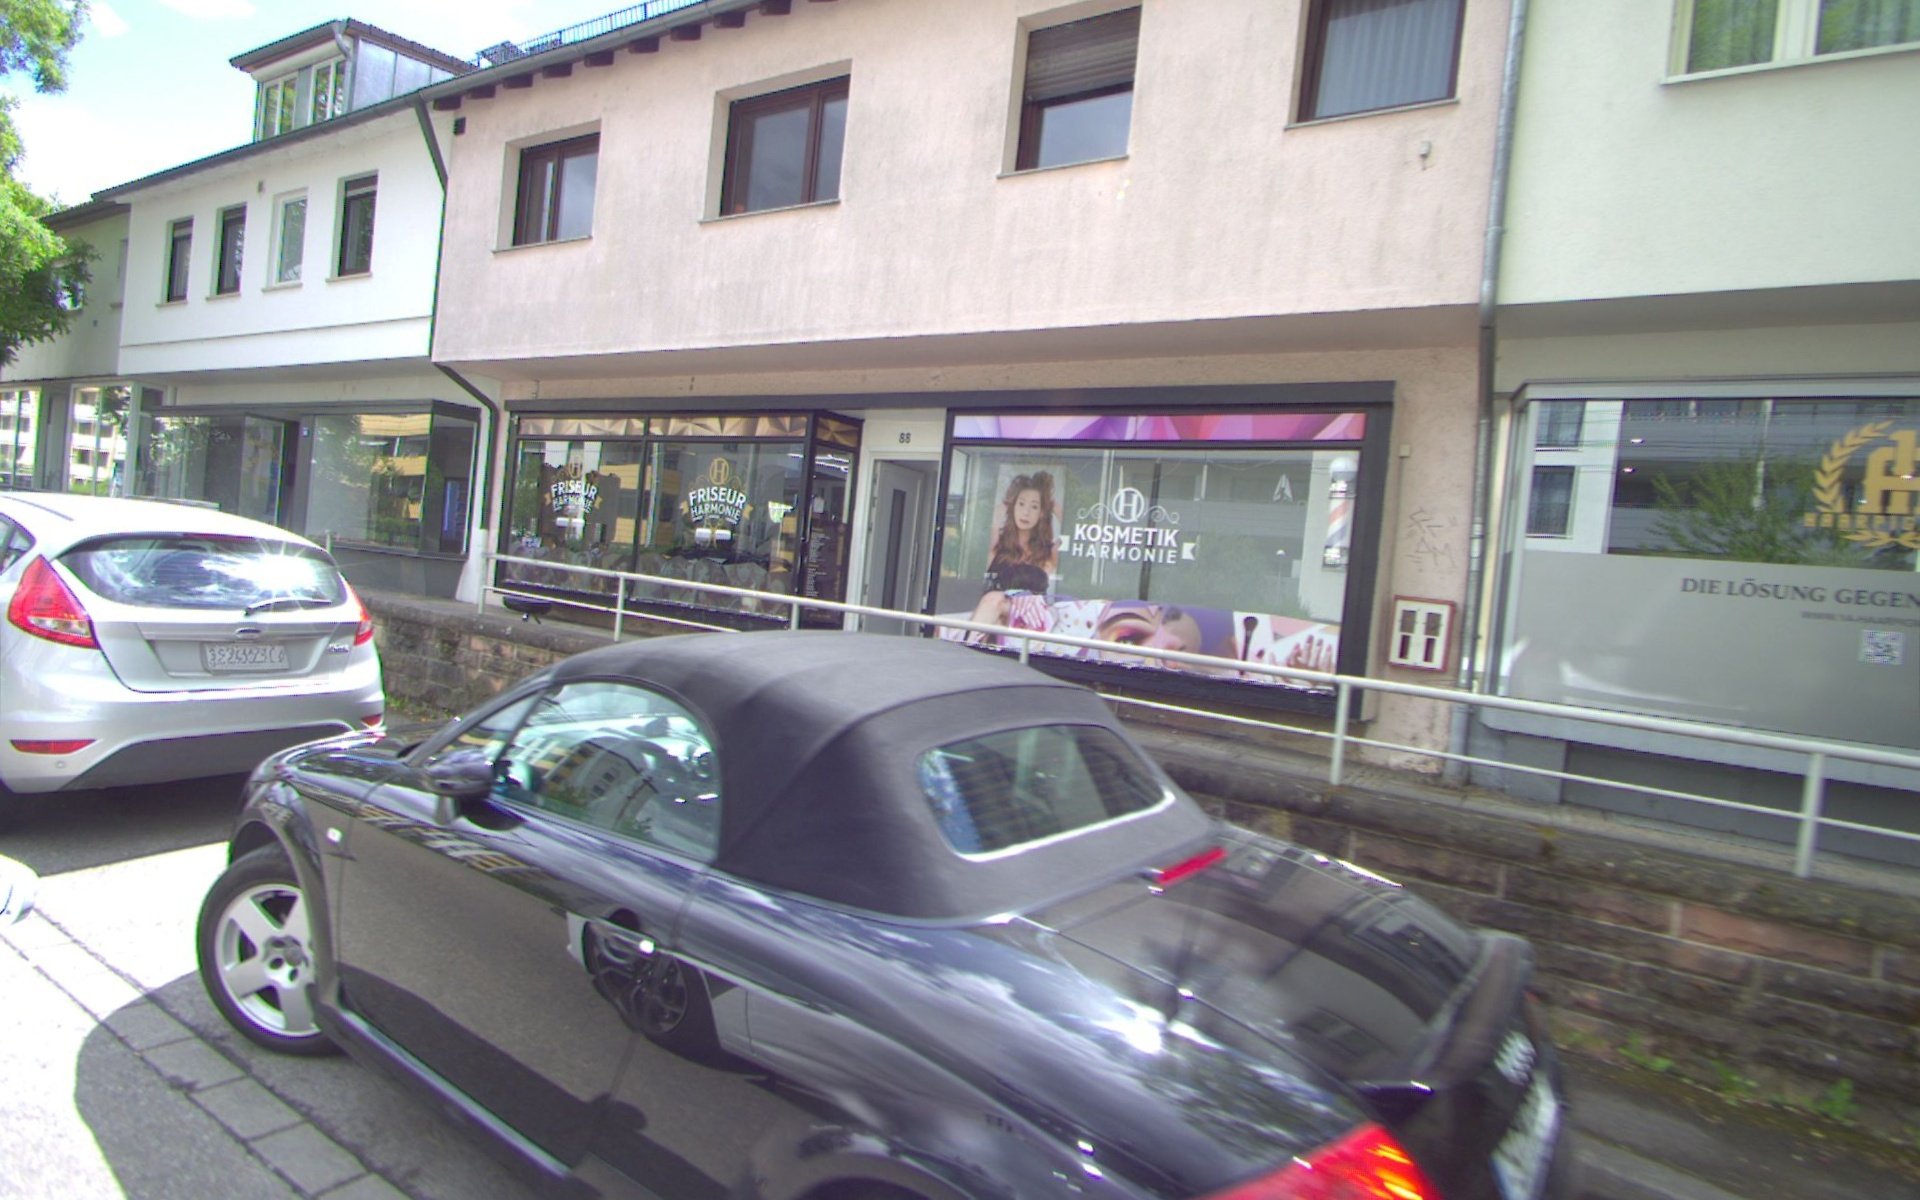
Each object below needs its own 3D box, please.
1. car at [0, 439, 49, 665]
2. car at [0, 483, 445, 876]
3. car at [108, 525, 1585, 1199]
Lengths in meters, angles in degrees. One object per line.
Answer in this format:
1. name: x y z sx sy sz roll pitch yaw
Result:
1. car: -10.212 -0.659 8.847 4.994 1.811 2.016 7 1 33
2. car: -4.804 0.146 5.417 3.833 1.462 1.772 6 2 30
3. car: -0.662 0.650 2.861 3.938 1.367 1.770 7 2 36
